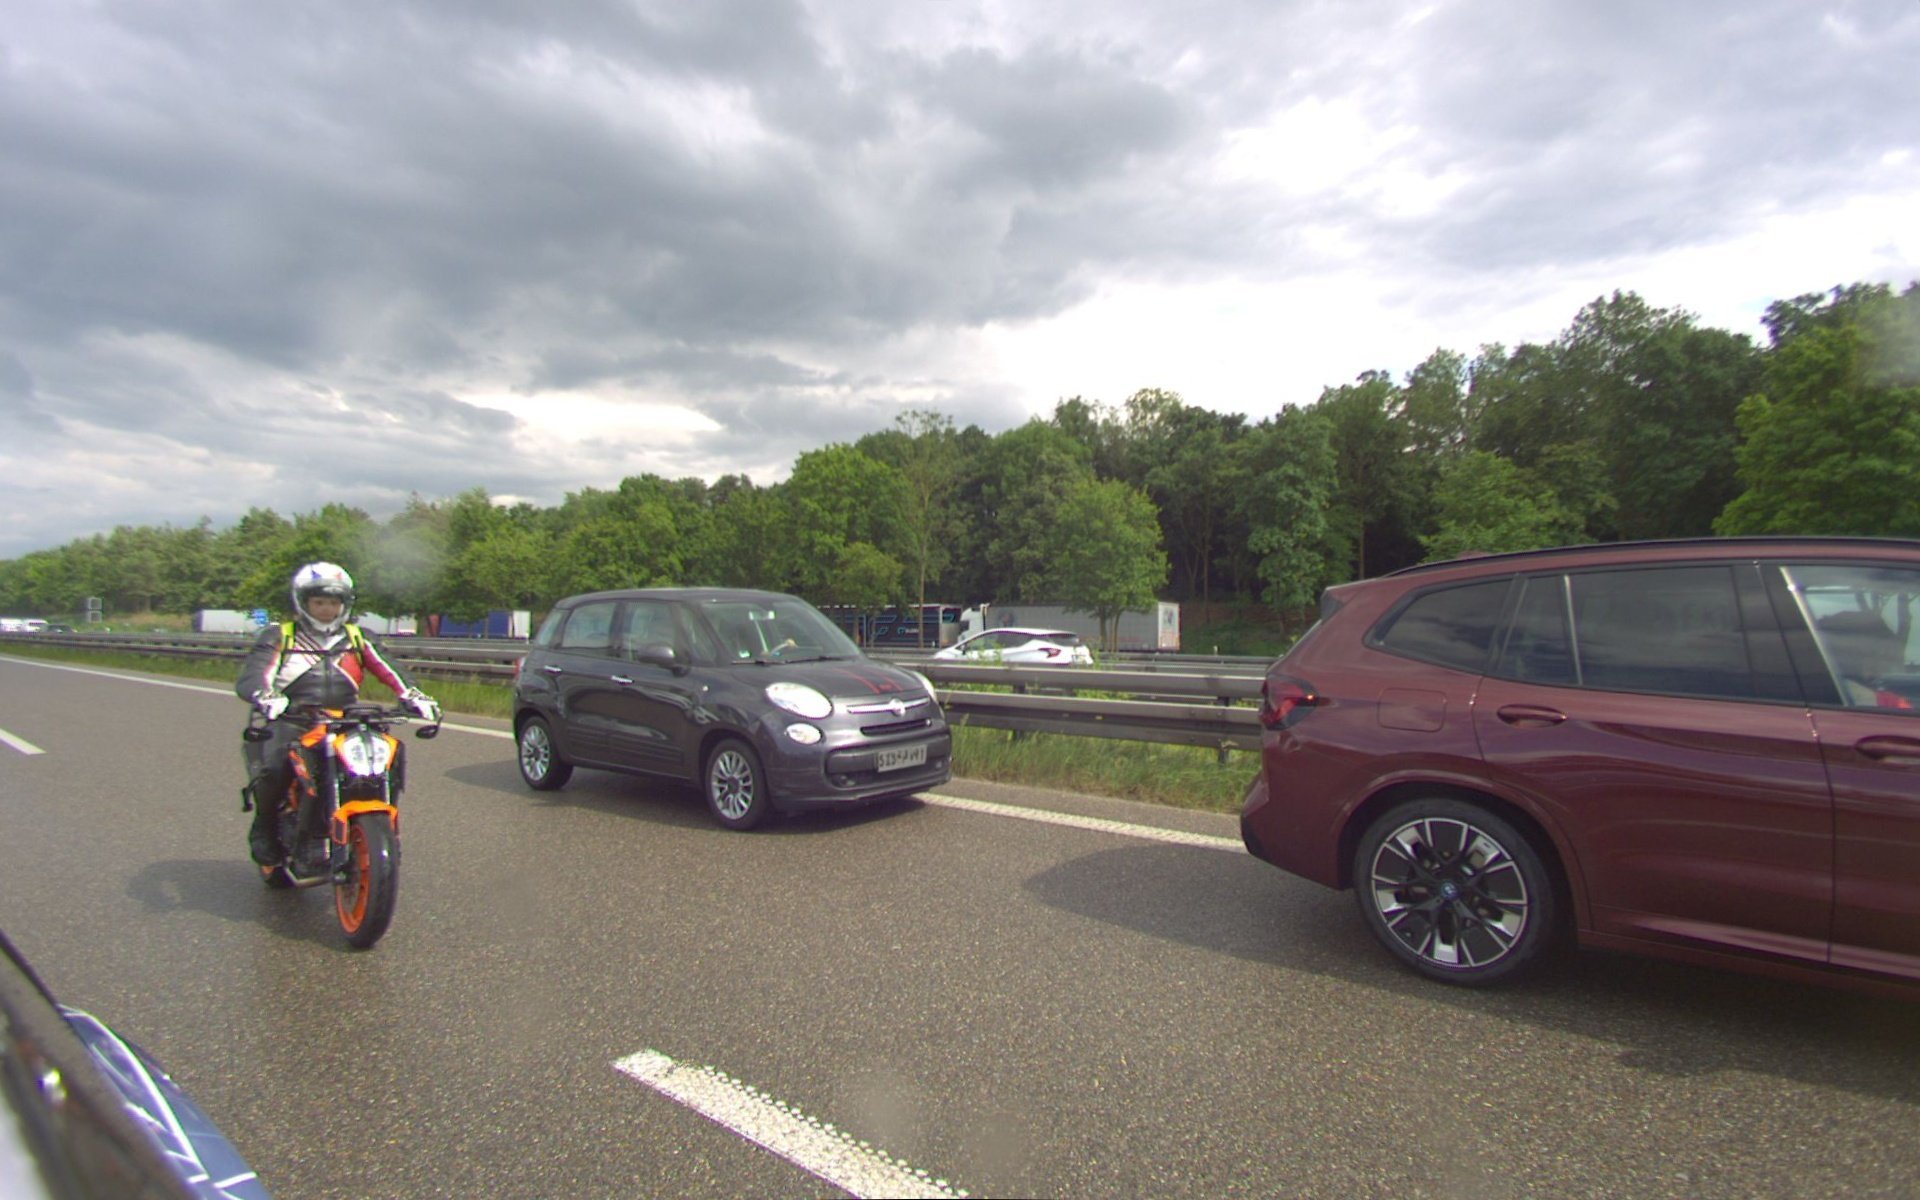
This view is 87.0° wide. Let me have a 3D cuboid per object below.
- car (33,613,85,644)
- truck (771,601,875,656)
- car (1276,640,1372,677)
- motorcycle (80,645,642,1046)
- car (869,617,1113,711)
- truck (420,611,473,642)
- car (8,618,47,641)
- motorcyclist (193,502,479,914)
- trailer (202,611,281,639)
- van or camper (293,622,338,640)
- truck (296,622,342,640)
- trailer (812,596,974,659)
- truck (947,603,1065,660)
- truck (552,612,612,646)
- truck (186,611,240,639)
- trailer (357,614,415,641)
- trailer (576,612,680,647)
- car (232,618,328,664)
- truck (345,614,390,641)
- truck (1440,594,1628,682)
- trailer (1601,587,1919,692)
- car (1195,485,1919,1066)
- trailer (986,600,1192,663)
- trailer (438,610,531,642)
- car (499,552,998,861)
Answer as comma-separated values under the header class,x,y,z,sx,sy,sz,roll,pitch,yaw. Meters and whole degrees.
class,x,y,z,sx,sy,sz,roll,pitch,yaw
car,-64.002,1.978,71.848,5.205,2.061,2.031,-1,0,40
truck,-11.227,2.250,82.557,8.412,4.266,3.749,-1,0,41
car,19.223,3.036,53.531,4.368,1.731,2.036,-1,0,43
motorcycle,-2.986,0.883,4.818,3.189,1.235,1.174,-1,0,37
car,0.569,1.284,22.177,5.205,1.789,2.031,-1,0,40
truck,-59.301,3.017,116.841,5.879,3.482,2.838,-1,0,33
car,-89.849,2.794,97.501,4.647,2.061,2.152,-1,0,40
motorcyclist,-3.004,0.453,4.881,0.999,1.719,0.873,-1,0,37
trailer,-97.768,3.394,137.620,12.502,3.767,3.186,-1,-2,26
van or camper,-83.026,3.988,130.349,6.291,2.282,2.106,-1,-1,27
truck,-82.721,3.986,130.548,6.286,2.282,2.106,-1,-1,27
trailer,-5.393,2.108,77.551,13.794,4.439,3.749,-1,-2,41
truck,3.086,2.094,69.387,7.350,3.616,3.749,-1,0,41
truck,-38.680,2.934,103.457,5.497,3.298,3.322,-1,0,36
truck,-103.664,3.452,140.481,6.878,3.732,3.190,-1,0,26
trailer,-69.854,3.304,123.136,7.711,3.257,2.561,-1,-1,30
trailer,-32.481,2.865,98.645,12.456,3.241,3.315,-1,-2,38
car,-29.079,1.690,43.212,5.205,1.789,2.031,-1,0,40
truck,-73.173,3.358,124.978,5.065,3.292,2.636,-1,0,30
truck,26.116,1.618,46.227,3.744,3.688,6.710,-1,0,-45
trailer,31.959,1.498,40.028,3.743,3.677,10.509,1,-2,-43
car,3.370,0.514,3.580,4.612,1.649,1.890,-1,-2,39
trailer,7.971,2.016,65.104,13.338,3.677,3.749,-1,-2,41
trailer,-53.113,2.896,112.774,13.386,3.431,2.800,-1,-2,33
car,-1.796,0.636,7.865,3.972,1.818,1.676,-1,0,39
